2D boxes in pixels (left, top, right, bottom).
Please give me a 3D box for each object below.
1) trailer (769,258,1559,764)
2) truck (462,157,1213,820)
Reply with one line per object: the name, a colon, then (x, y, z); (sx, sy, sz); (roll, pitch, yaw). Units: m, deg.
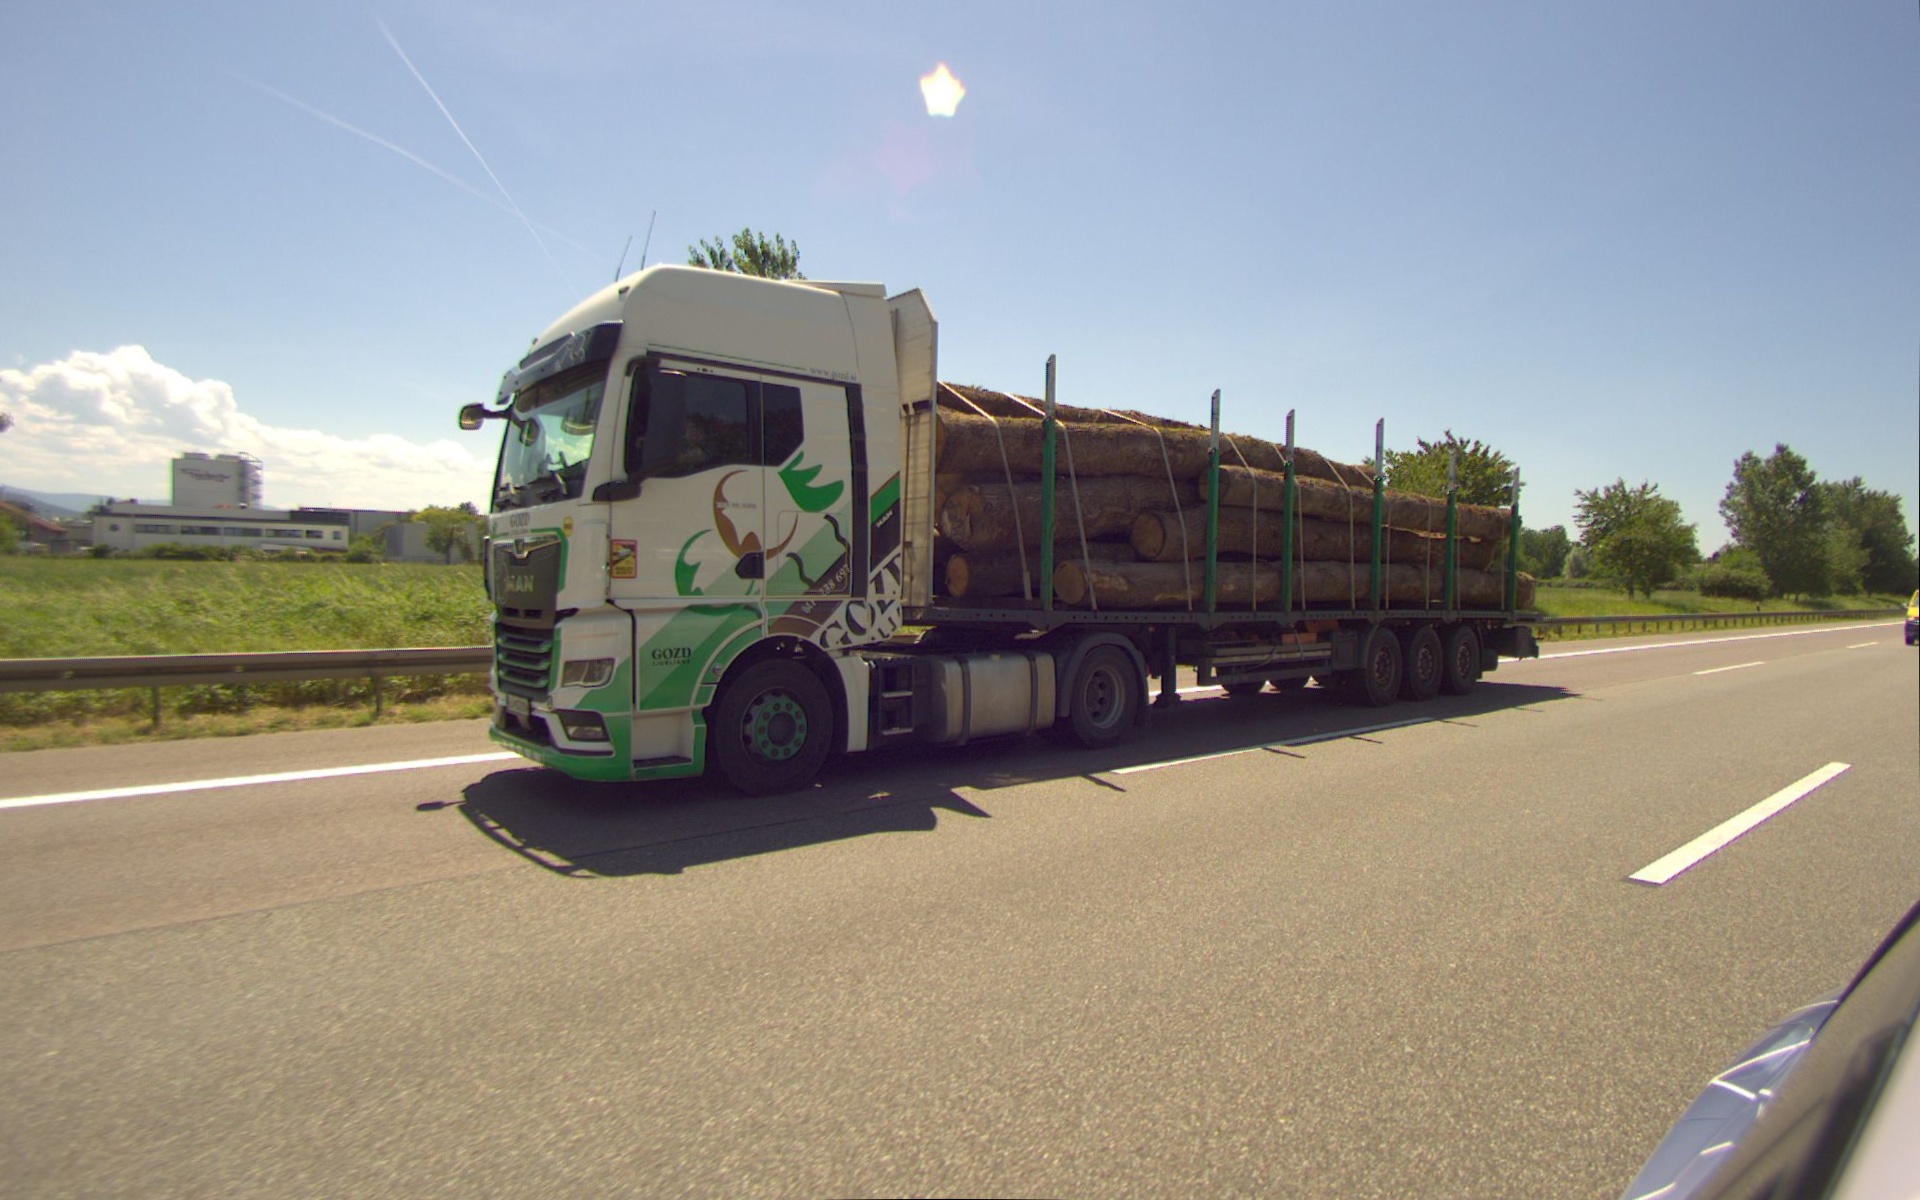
trailer: (4.023, -0.733, 13.428); (13.397, 4.008, 2.658); (0, 0, -41)
truck: (-0.713, -0.702, 9.333); (6.519, 4.045, 2.674); (0, 0, -41)
